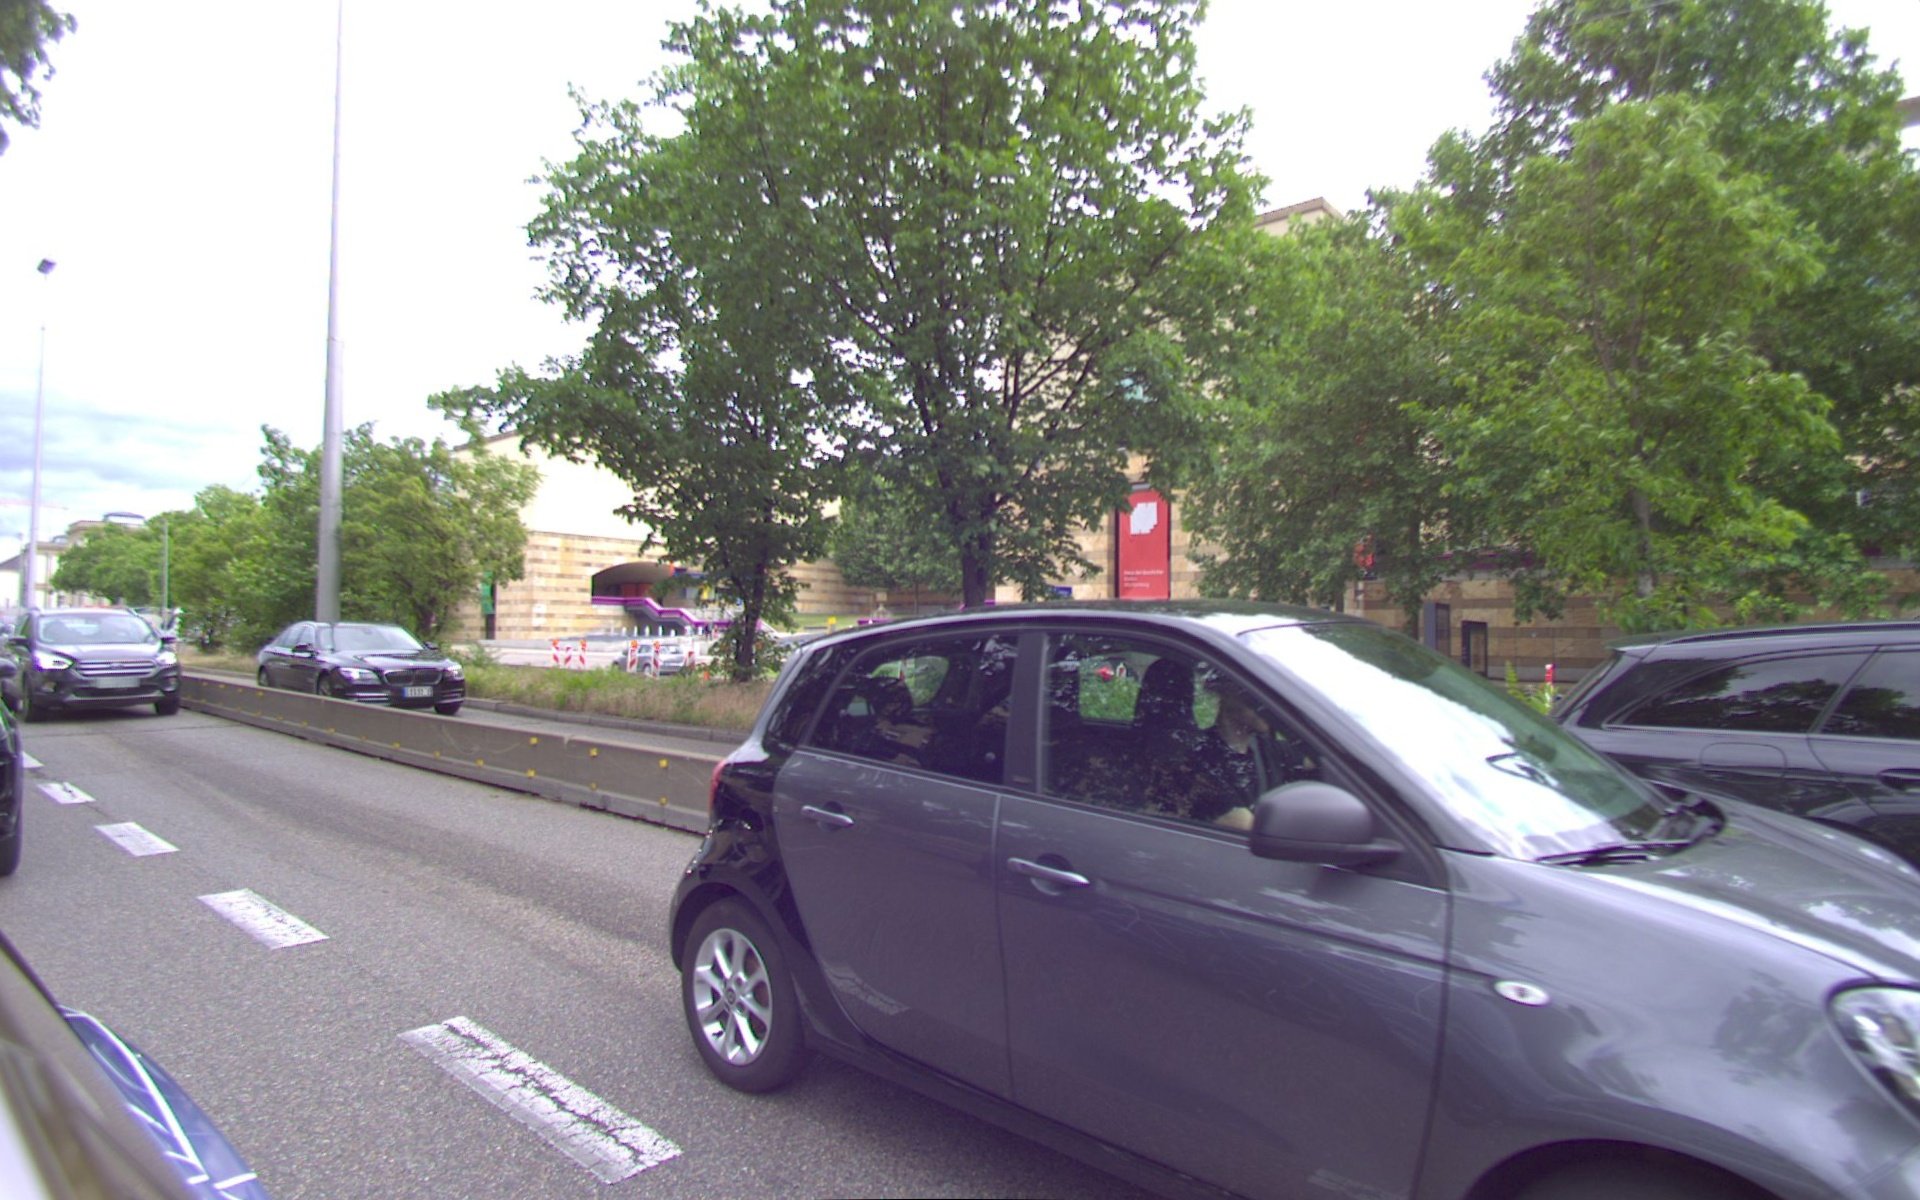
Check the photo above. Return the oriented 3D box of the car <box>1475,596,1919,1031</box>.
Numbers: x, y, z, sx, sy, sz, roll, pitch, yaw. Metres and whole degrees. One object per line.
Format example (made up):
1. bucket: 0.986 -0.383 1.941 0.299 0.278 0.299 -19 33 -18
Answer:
1. car: 4.657 0.727 3.447 4.864 1.471 1.792 -1 1 44

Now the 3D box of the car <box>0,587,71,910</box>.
1. car: -7.118 0.787 5.999 4.596 1.638 2.036 -1 0 39

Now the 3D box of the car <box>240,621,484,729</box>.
1. car: -9.747 1.117 16.333 4.807 1.494 1.972 -2 -3 41

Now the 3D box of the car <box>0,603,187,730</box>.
1. car: -13.909 0.974 16.034 4.657 1.728 1.873 -2 -2 43

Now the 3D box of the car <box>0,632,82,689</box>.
1. car: -27.994 1.770 30.539 4.151 1.527 1.744 -1 -1 42

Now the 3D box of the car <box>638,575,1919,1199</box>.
1. car: 0.749 0.746 2.843 3.539 1.520 1.610 -1 -1 42

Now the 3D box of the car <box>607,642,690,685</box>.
1. car: -12.533 2.530 40.684 3.577 1.621 1.561 -2 -3 42
